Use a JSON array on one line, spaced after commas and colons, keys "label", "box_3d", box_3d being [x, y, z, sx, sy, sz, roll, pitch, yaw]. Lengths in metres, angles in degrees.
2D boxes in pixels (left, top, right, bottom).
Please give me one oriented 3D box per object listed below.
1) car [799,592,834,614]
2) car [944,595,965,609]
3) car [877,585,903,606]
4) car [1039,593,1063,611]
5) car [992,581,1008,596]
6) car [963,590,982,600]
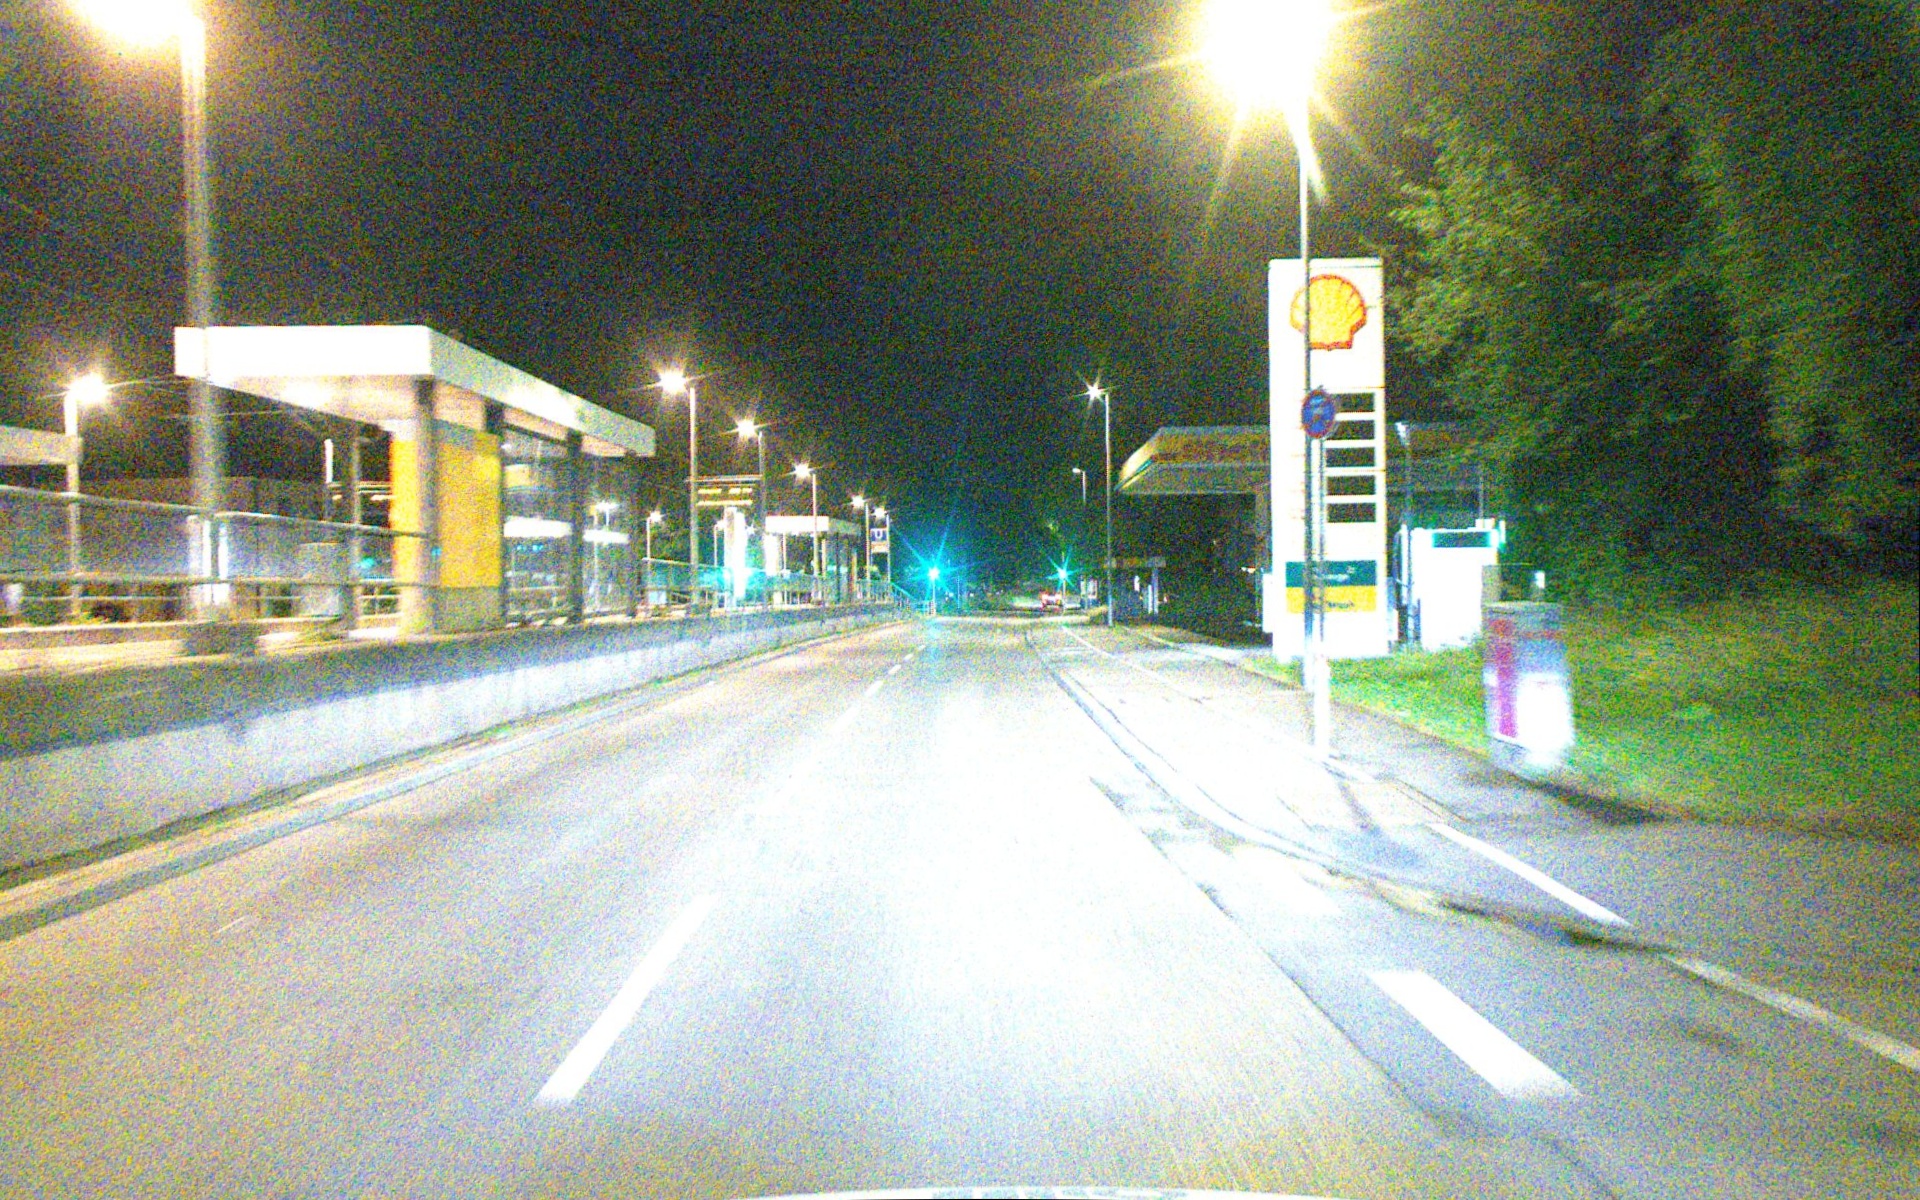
[{"label": "car", "box_3d": [-10.412, 0.194, 119.978, 1.611, 1.362, 4.546, -5, 0, 6]}, {"label": "car", "box_3d": [-0.647, 0.191, 201.337, 1.951, 1.656, 4.681, -1, 0, 6]}, {"label": "car", "box_3d": [-6.490, -0.416, 153.271, 1.818, 1.937, 4.883, 0, 0, 4]}, {"label": "car", "box_3d": [8.337, 0.190, 150.760, 2.116, 1.610, 4.015, 0, 0, 4]}, {"label": "car", "box_3d": [6.079, -1.703, 251.107, 2.047, 2.048, 4.003, -5, 1, 7]}, {"label": "car", "box_3d": [1.664, -0.660, 220.904, 1.951, 1.361, 5.436, -1, 0, 6]}]
